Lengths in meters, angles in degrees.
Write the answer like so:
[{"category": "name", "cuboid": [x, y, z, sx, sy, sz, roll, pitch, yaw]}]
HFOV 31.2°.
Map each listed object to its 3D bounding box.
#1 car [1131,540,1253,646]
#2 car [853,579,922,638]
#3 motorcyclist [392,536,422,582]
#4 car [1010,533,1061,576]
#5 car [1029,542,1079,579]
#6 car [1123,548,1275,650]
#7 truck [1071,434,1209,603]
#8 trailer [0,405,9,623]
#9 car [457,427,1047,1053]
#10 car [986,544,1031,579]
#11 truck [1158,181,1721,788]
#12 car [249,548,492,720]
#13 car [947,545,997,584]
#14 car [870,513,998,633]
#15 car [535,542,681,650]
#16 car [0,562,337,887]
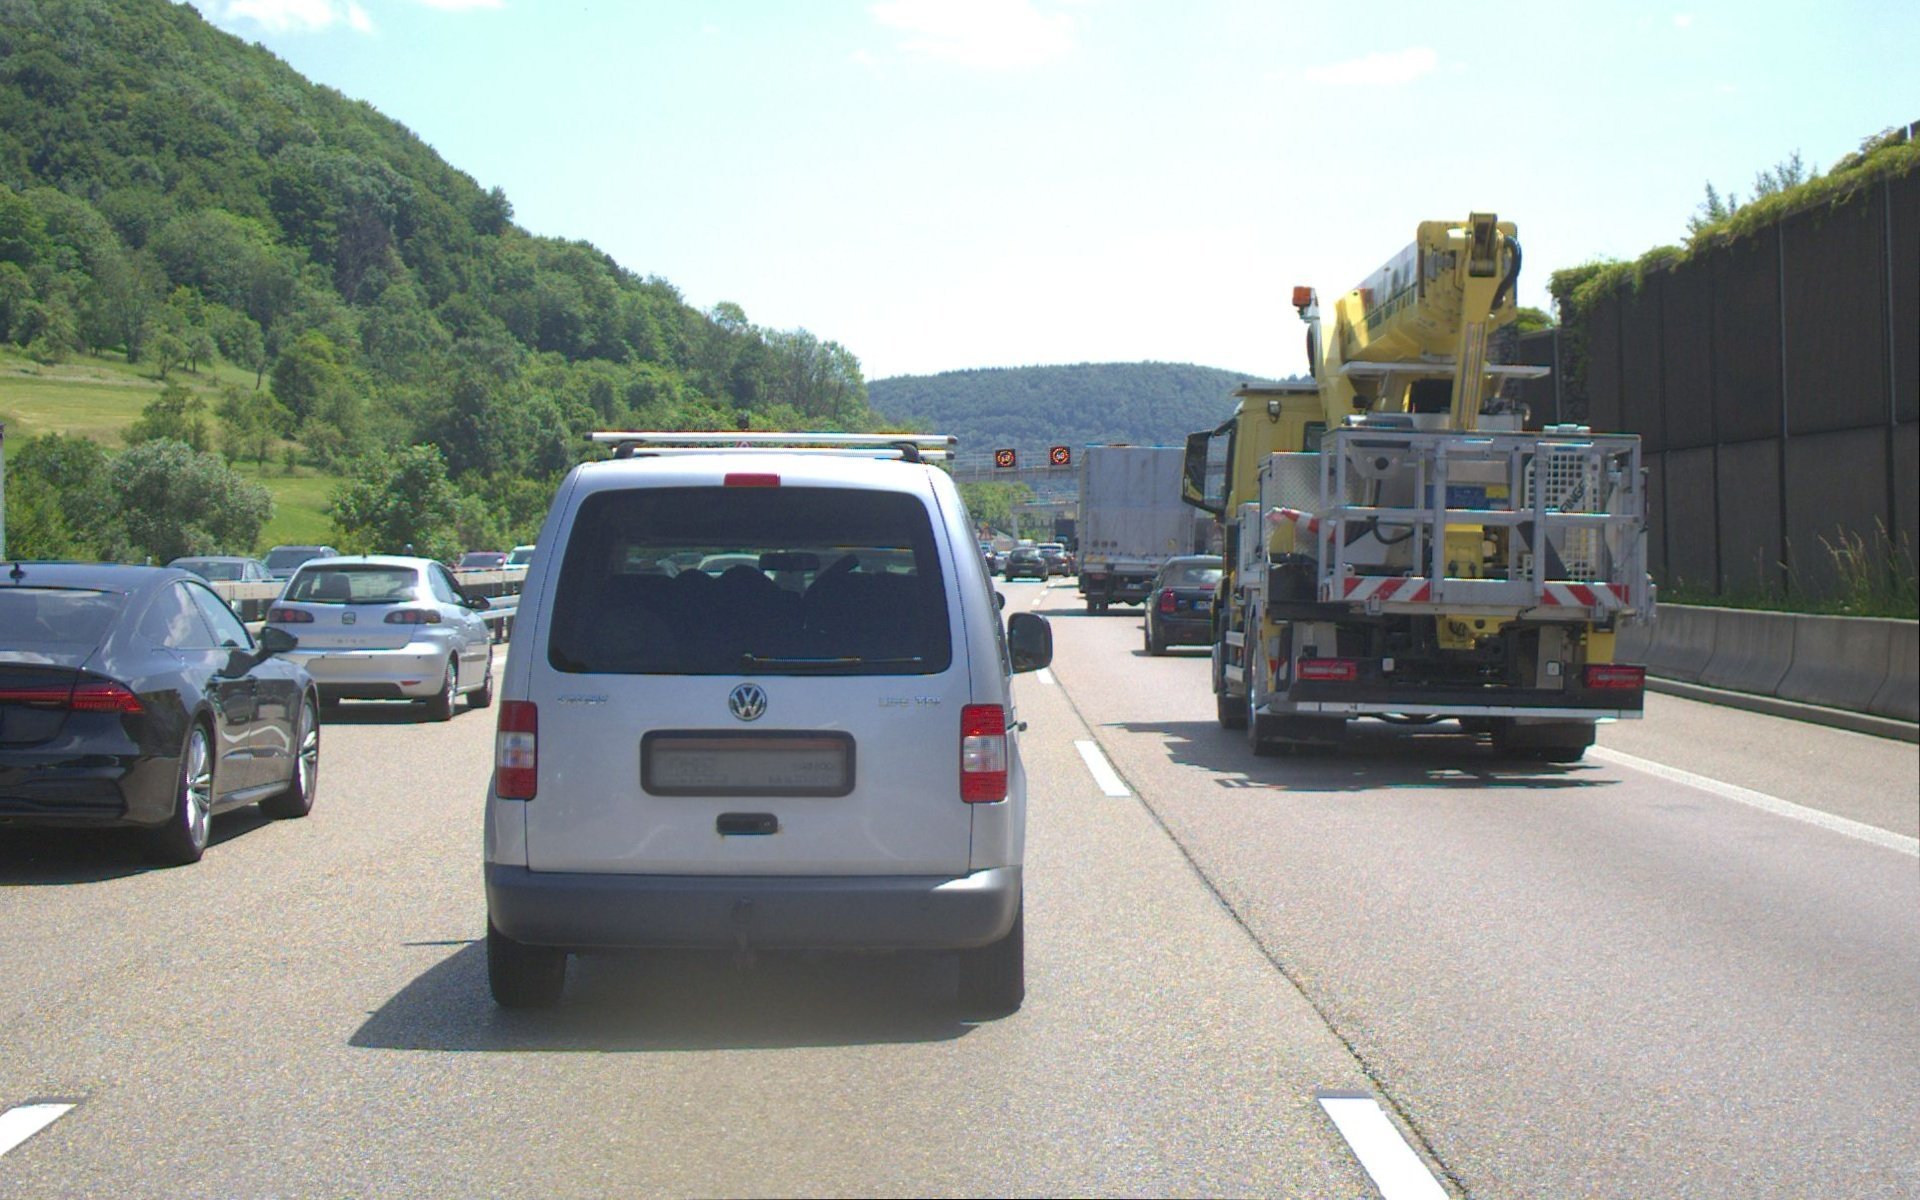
[{"category": "car", "cuboid": [4.506, -0.174, 67.212, 1.993, 2.007, 4.000, 0, 1, -2]}, {"category": "car", "cuboid": [-2.278, 0.245, 109.542, 2.114, 1.821, 4.000, 1, 0, 0]}, {"category": "motorcyclist", "cuboid": [-18.238, -1.347, 113.378, 0.844, 1.496, 0.838, 0, 1, -1]}, {"category": "car", "cuboid": [3.108, -1.885, 142.803, 1.993, 1.743, 4.000, 1, 0, 0]}, {"category": "car", "cuboid": [4.656, -1.953, 170.510, 2.114, 1.821, 4.000, 1, 0, -3]}, {"category": "car", "cuboid": [3.508, -0.041, 51.034, 1.786, 1.453, 3.771, 0, 1, -3]}, {"category": "truck", "cuboid": [4.234, -1.882, 82.501, 2.940, 3.810, 8.236, 1, 0, 1]}, {"category": "trailer", "cuboid": [-20.163, -1.638, 60.418, 3.247, 4.190, 13.000, 1, 0, 0]}, {"category": "car", "cuboid": [-0.726, 0.383, 12.259, 1.756, 1.861, 4.001, 0, 1, -3]}, {"category": "car", "cuboid": [2.634, -2.094, 186.920, 2.114, 1.821, 4.000, 1, 0, -3]}, {"category": "truck", "cuboid": [3.370, -0.819, 26.681, 2.703, 3.929, 8.723, 0, 1, -3]}, {"category": "car", "cuboid": [-5.229, 0.257, 30.902, 1.695, 1.440, 3.862, 0, 1, -3]}, {"category": "car", "cuboid": [0.549, -1.672, 163.934, 2.114, 1.821, 4.000, 1, 0, -3]}, {"category": "car", "cuboid": [-0.484, -0.479, 58.446, 1.993, 1.969, 4.001, 0, 1, -3]}, {"category": "car", "cuboid": [-5.105, -0.093, 50.242, 1.924, 1.494, 4.001, 1, 1, -3]}, {"category": "car", "cuboid": [-4.459, 0.512, 17.392, 1.800, 1.385, 4.970, 0, 1, -1]}]
